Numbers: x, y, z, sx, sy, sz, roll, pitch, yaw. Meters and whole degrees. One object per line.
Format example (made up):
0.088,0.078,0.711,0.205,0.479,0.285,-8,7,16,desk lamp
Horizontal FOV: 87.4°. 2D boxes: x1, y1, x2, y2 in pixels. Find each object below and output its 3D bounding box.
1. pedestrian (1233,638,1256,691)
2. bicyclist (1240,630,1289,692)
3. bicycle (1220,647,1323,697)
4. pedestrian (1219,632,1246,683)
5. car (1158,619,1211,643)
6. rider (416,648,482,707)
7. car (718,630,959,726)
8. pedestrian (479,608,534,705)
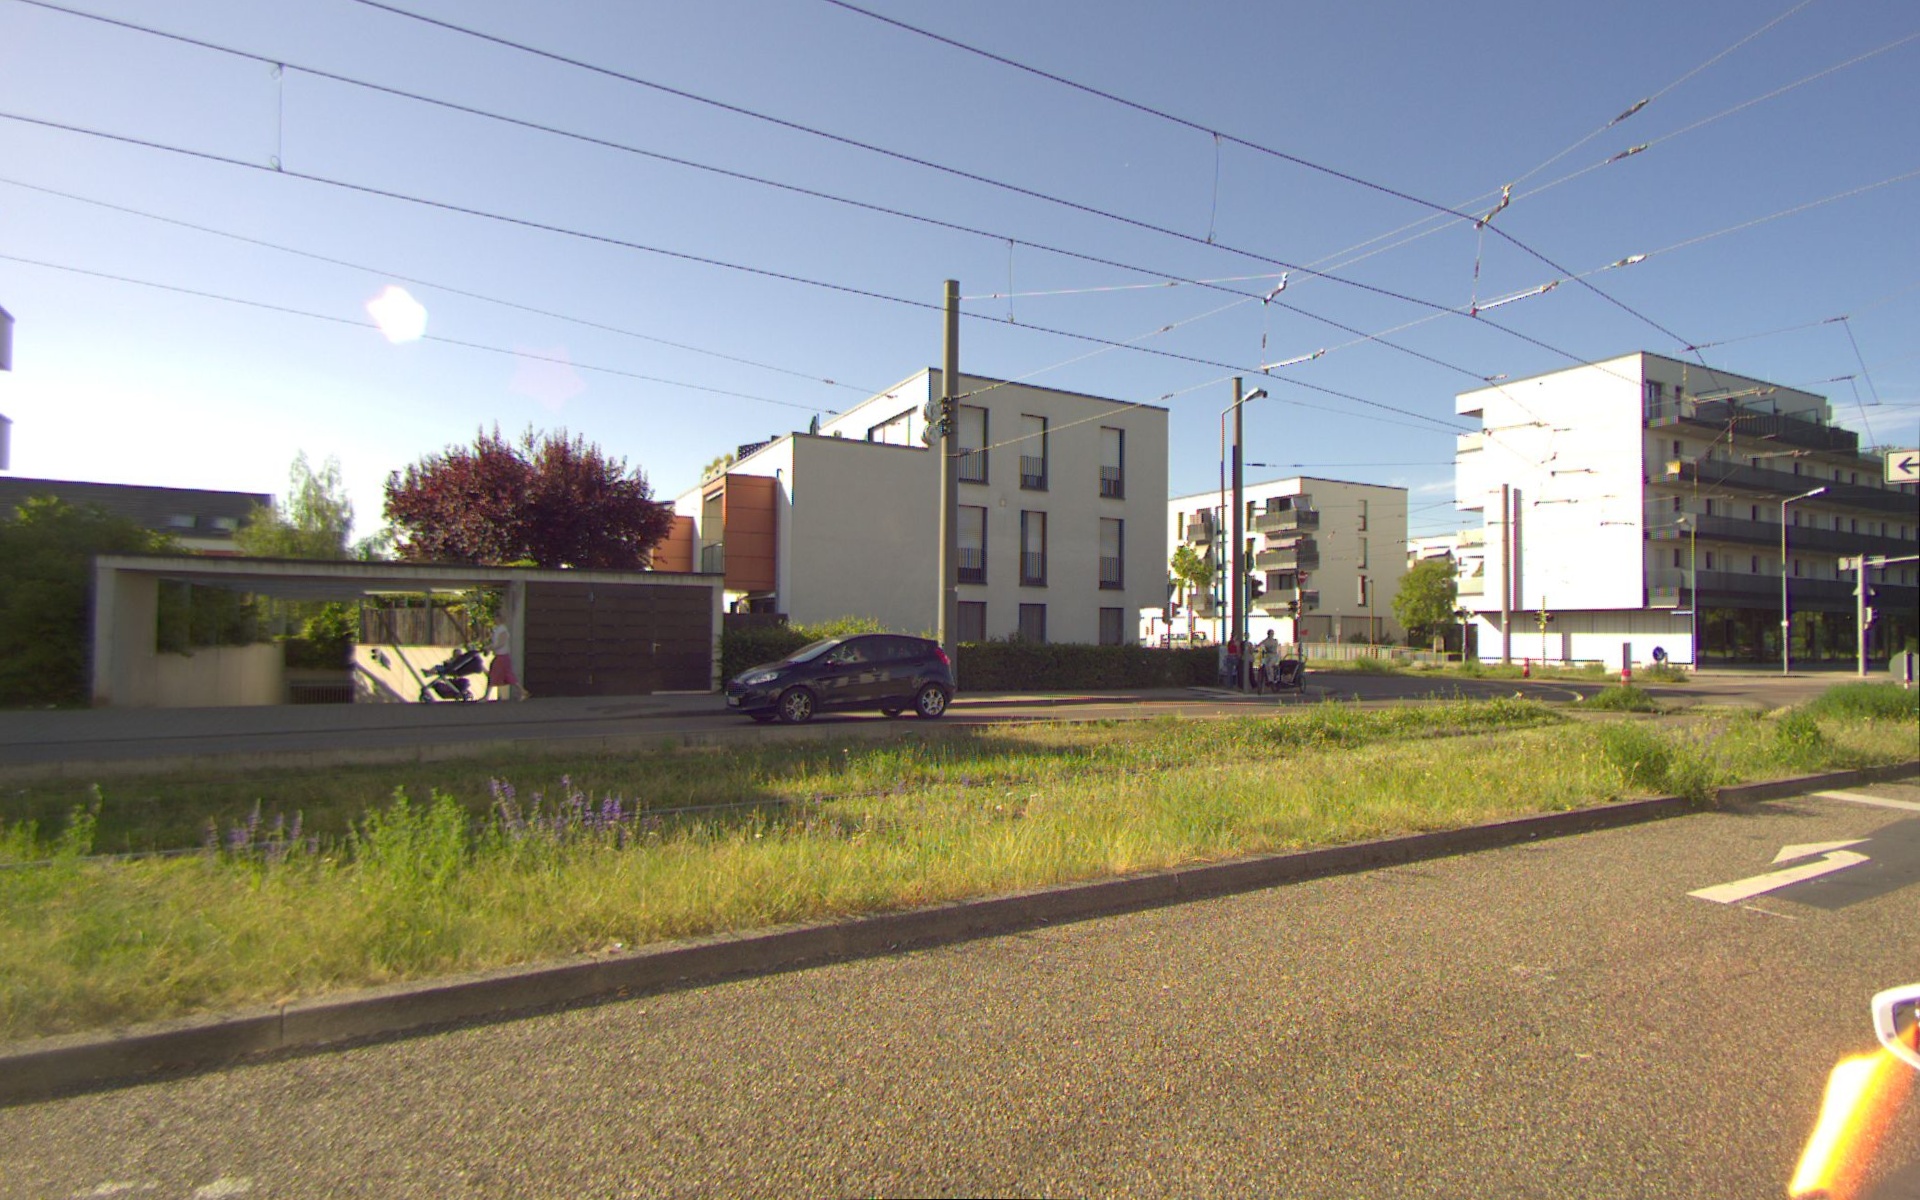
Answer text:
8.334,1.879,29.410,0.548,1.483,0.611,1,0,23,pedestrian
8.523,1.684,28.084,0.906,1.651,0.964,1,0,-42,bicyclist
8.842,1.998,28.370,3.666,1.190,0.987,1,1,-42,bicycle
8.163,1.715,30.070,0.550,1.483,0.740,1,0,37,pedestrian
17.859,2.455,80.130,1.977,1.862,3.967,1,0,-31,car
-9.404,1.413,18.505,1.031,1.016,0.775,1,0,-25,rider
-2.024,1.267,16.972,3.700,1.449,1.694,1,-4,-34,car
-8.530,1.043,18.921,0.897,1.771,0.813,1,0,-24,pedestrian
